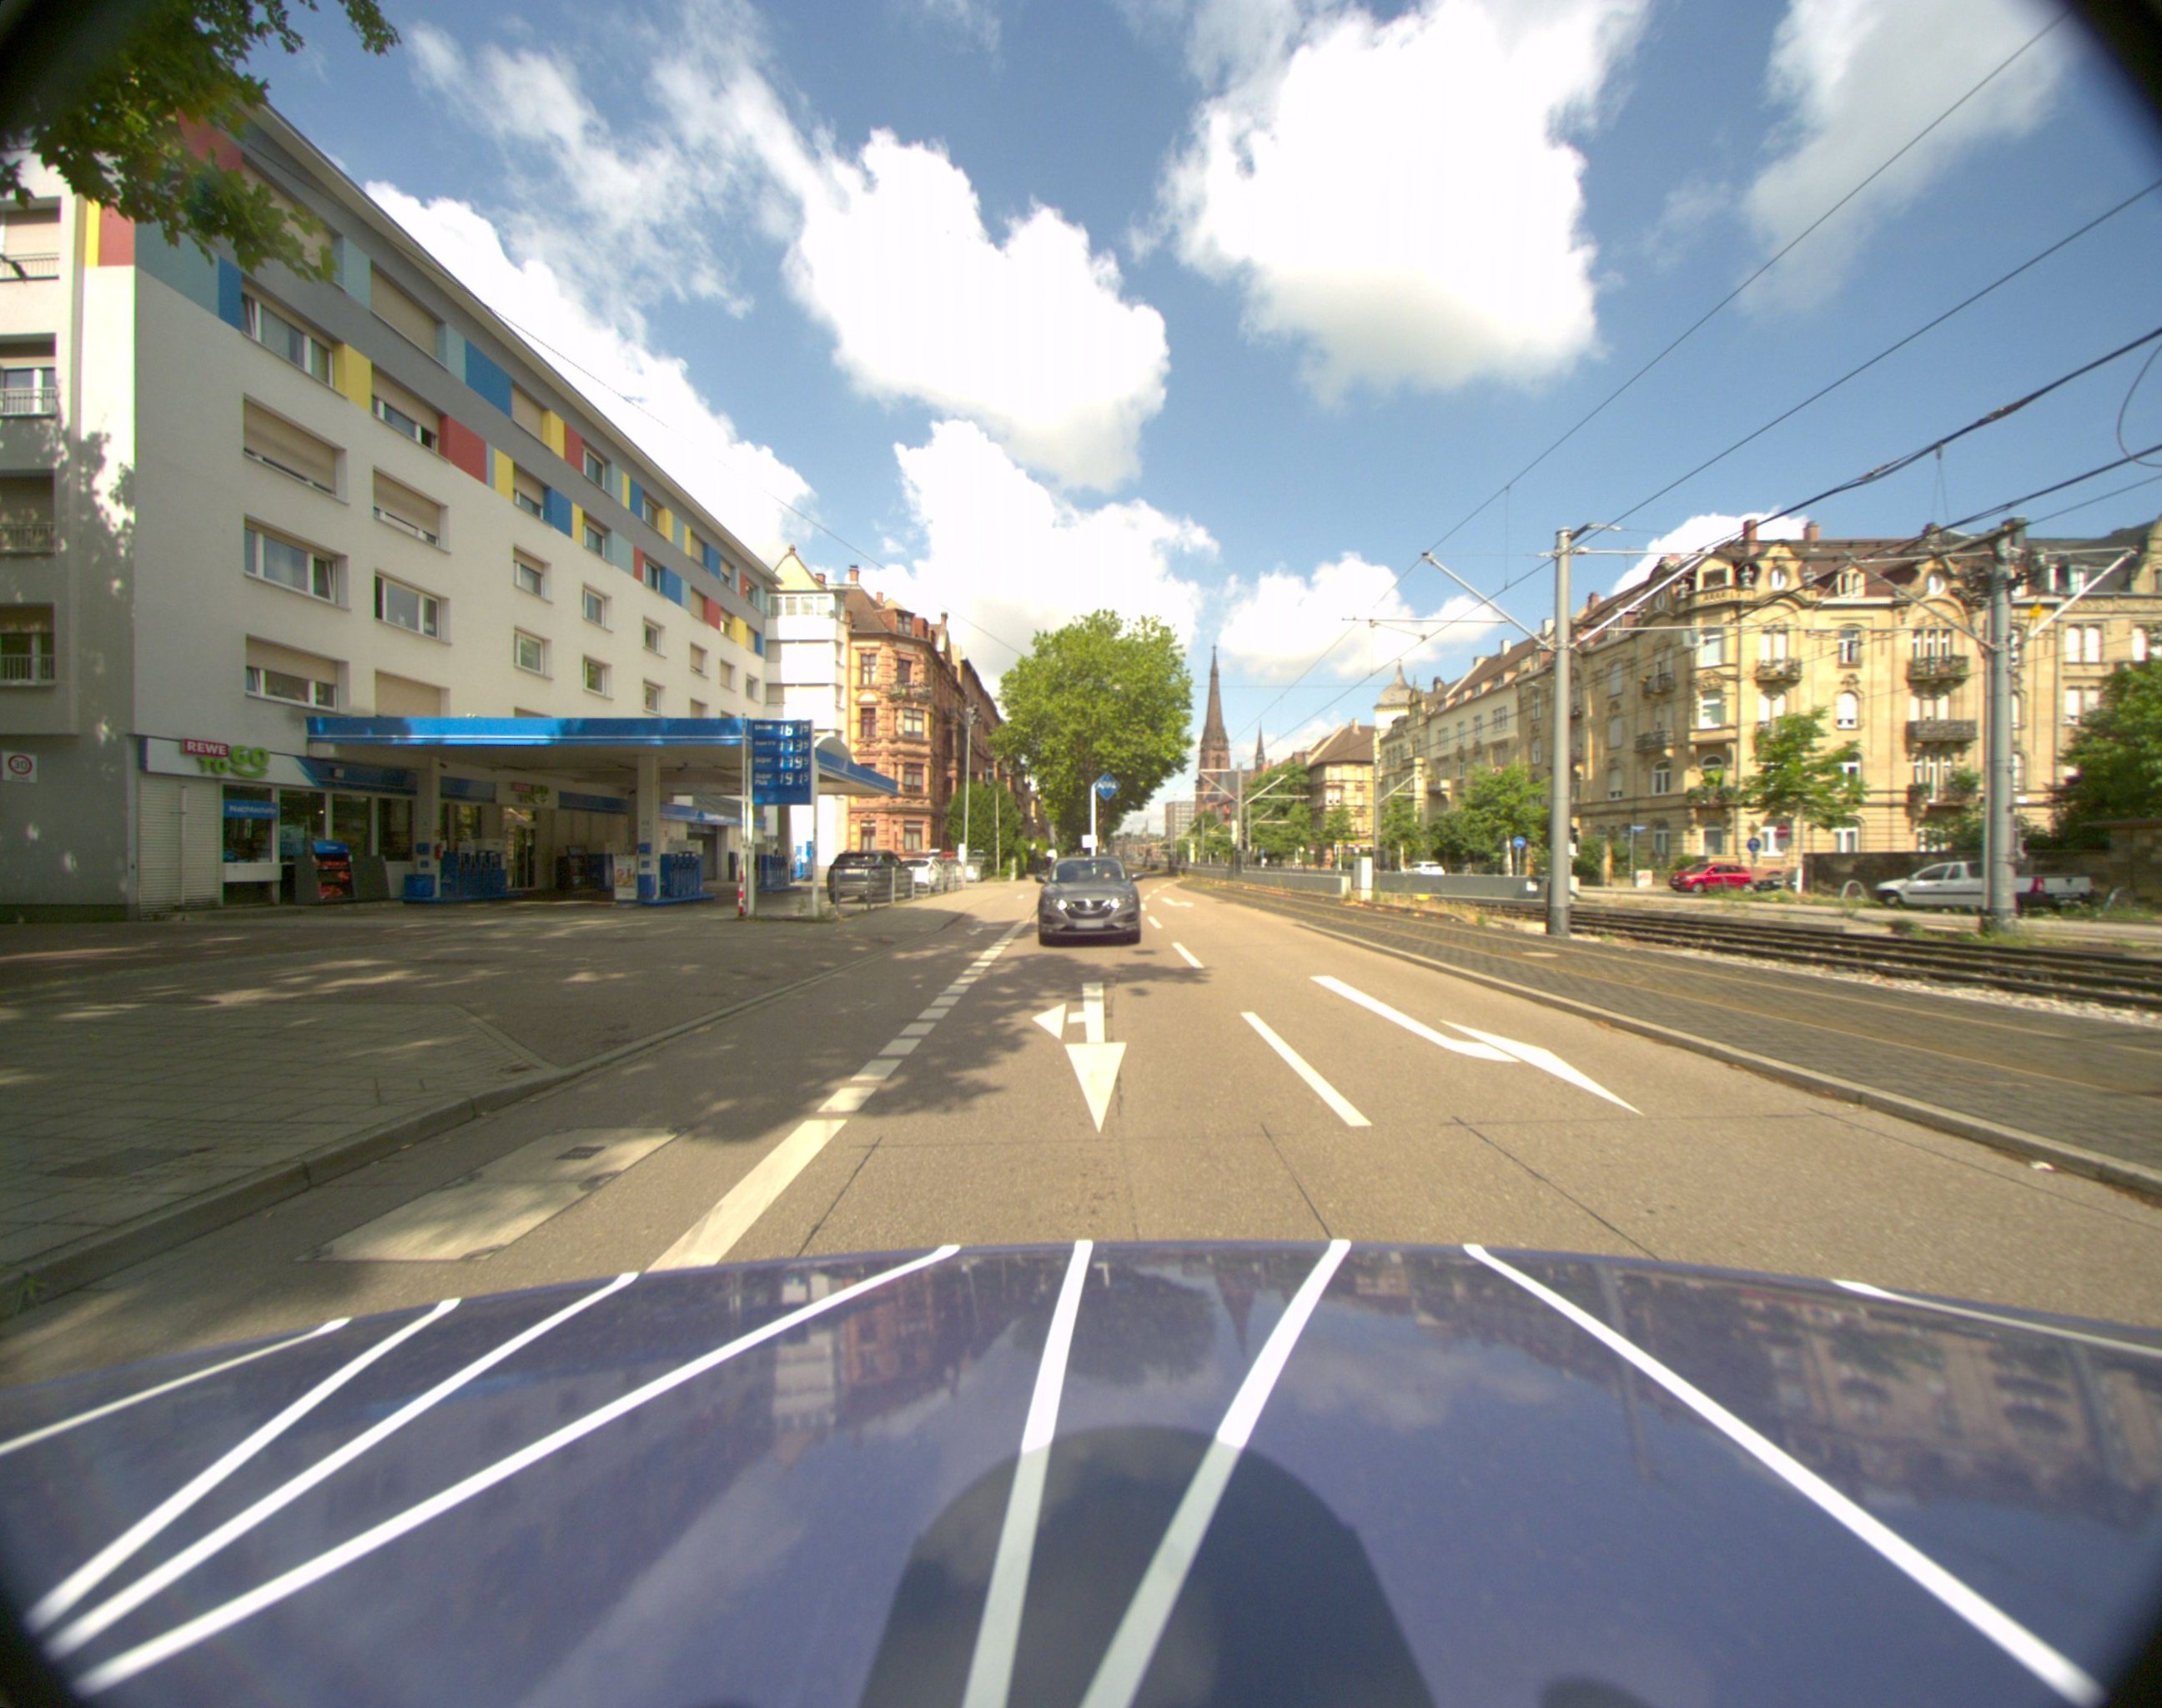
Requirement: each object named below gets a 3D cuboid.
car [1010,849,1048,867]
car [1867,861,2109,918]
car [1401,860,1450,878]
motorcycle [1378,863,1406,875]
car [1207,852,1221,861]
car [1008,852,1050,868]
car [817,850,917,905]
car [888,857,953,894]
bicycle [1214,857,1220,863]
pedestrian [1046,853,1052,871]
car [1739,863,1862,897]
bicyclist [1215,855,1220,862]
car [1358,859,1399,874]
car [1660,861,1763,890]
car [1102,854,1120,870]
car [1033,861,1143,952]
[{"bbox_3d":[-6.533,0.509,94.796,4.412,1.927,1.981,3,0,-11],"label":"car"},{"bbox_3d":[26.717,0.987,22.674,1.936,1.495,4.413,0,0,-1],"label":"car"},{"bbox_3d":[26.834,1.129,59.384,1.756,1.320,4.312,0,0,-2],"label":"car"},{"bbox_3d":[26.785,1.284,65.425,1.765,0.936,1.417,2,0,-1],"label":"motorcycle"},{"bbox_3d":[26.159,0.456,149.505,1.998,1.628,4.114,0,0,0],"label":"car"},{"bbox_3d":[-6.095,0.665,89.188,4.735,1.772,2.004,-1,0,-7],"label":"car"},{"bbox_3d":[-6.746,0.706,24.522,1.810,1.593,4.583,-1,0,1],"label":"car"},{"bbox_3d":[-6.566,0.844,31.498,1.810,1.447,4.001,-1,0,0],"label":"car"},{"bbox_3d":[24.863,1.054,138.799,0.778,0.973,2.141,2,0,1],"label":"bicycle"},{"bbox_3d":[-3.076,0.747,72.880,0.565,1.775,0.630,0,0,0],"label":"pedestrian"},{"bbox_3d":[32.893,1.171,34.804,3.972,1.455,1.723,0,0,1],"label":"car"},{"bbox_3d":[24.851,0.838,138.638,0.769,1.330,1.049,2,0,1],"label":"bicyclist"},{"bbox_3d":[26.675,1.081,68.285,2.025,1.319,4.100,0,0,-2],"label":"car"},{"bbox_3d":[33.568,1.121,40.527,3.788,1.455,1.933,0,0,3],"label":"car"},{"bbox_3d":[2.828,0.741,72.674,1.557,1.476,3.858,2,0,0],"label":"car"},{"bbox_3d":[0.146,0.889,14.772,1.800,1.454,4.567,0,0,1],"label":"car"}]
